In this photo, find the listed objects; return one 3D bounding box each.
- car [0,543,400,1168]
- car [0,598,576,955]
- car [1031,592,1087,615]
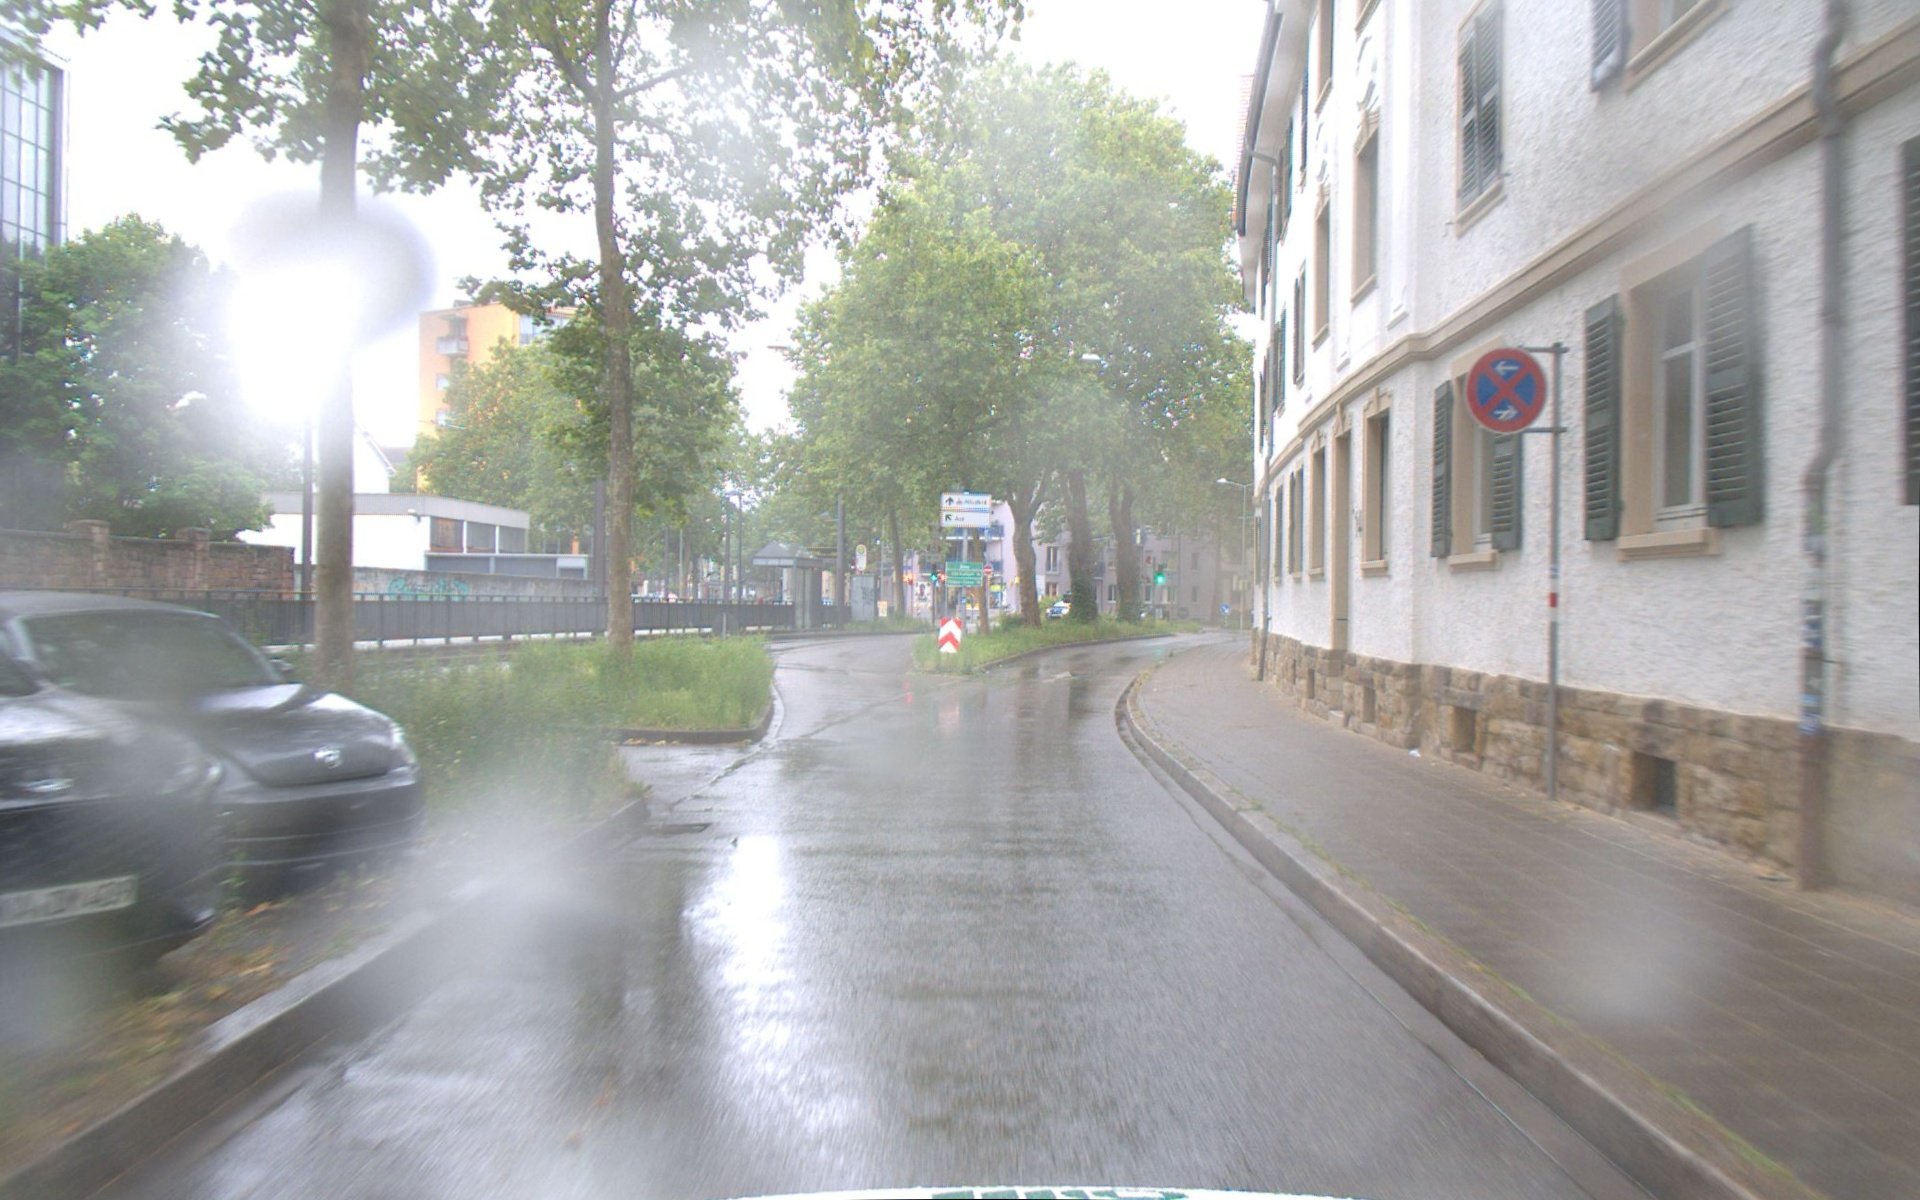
[{"bbox_3d":[-4.428,0.737,6.141,4.432,1.744,1.958,-1,2,29],"label":"car"},{"bbox_3d":[-4.480,0.821,9.370,4.268,1.539,1.958,-1,2,29],"label":"car"},{"bbox_3d":[7.419,0.263,123.804,3.969,1.625,1.968,3,-1,-44],"label":"car"}]
